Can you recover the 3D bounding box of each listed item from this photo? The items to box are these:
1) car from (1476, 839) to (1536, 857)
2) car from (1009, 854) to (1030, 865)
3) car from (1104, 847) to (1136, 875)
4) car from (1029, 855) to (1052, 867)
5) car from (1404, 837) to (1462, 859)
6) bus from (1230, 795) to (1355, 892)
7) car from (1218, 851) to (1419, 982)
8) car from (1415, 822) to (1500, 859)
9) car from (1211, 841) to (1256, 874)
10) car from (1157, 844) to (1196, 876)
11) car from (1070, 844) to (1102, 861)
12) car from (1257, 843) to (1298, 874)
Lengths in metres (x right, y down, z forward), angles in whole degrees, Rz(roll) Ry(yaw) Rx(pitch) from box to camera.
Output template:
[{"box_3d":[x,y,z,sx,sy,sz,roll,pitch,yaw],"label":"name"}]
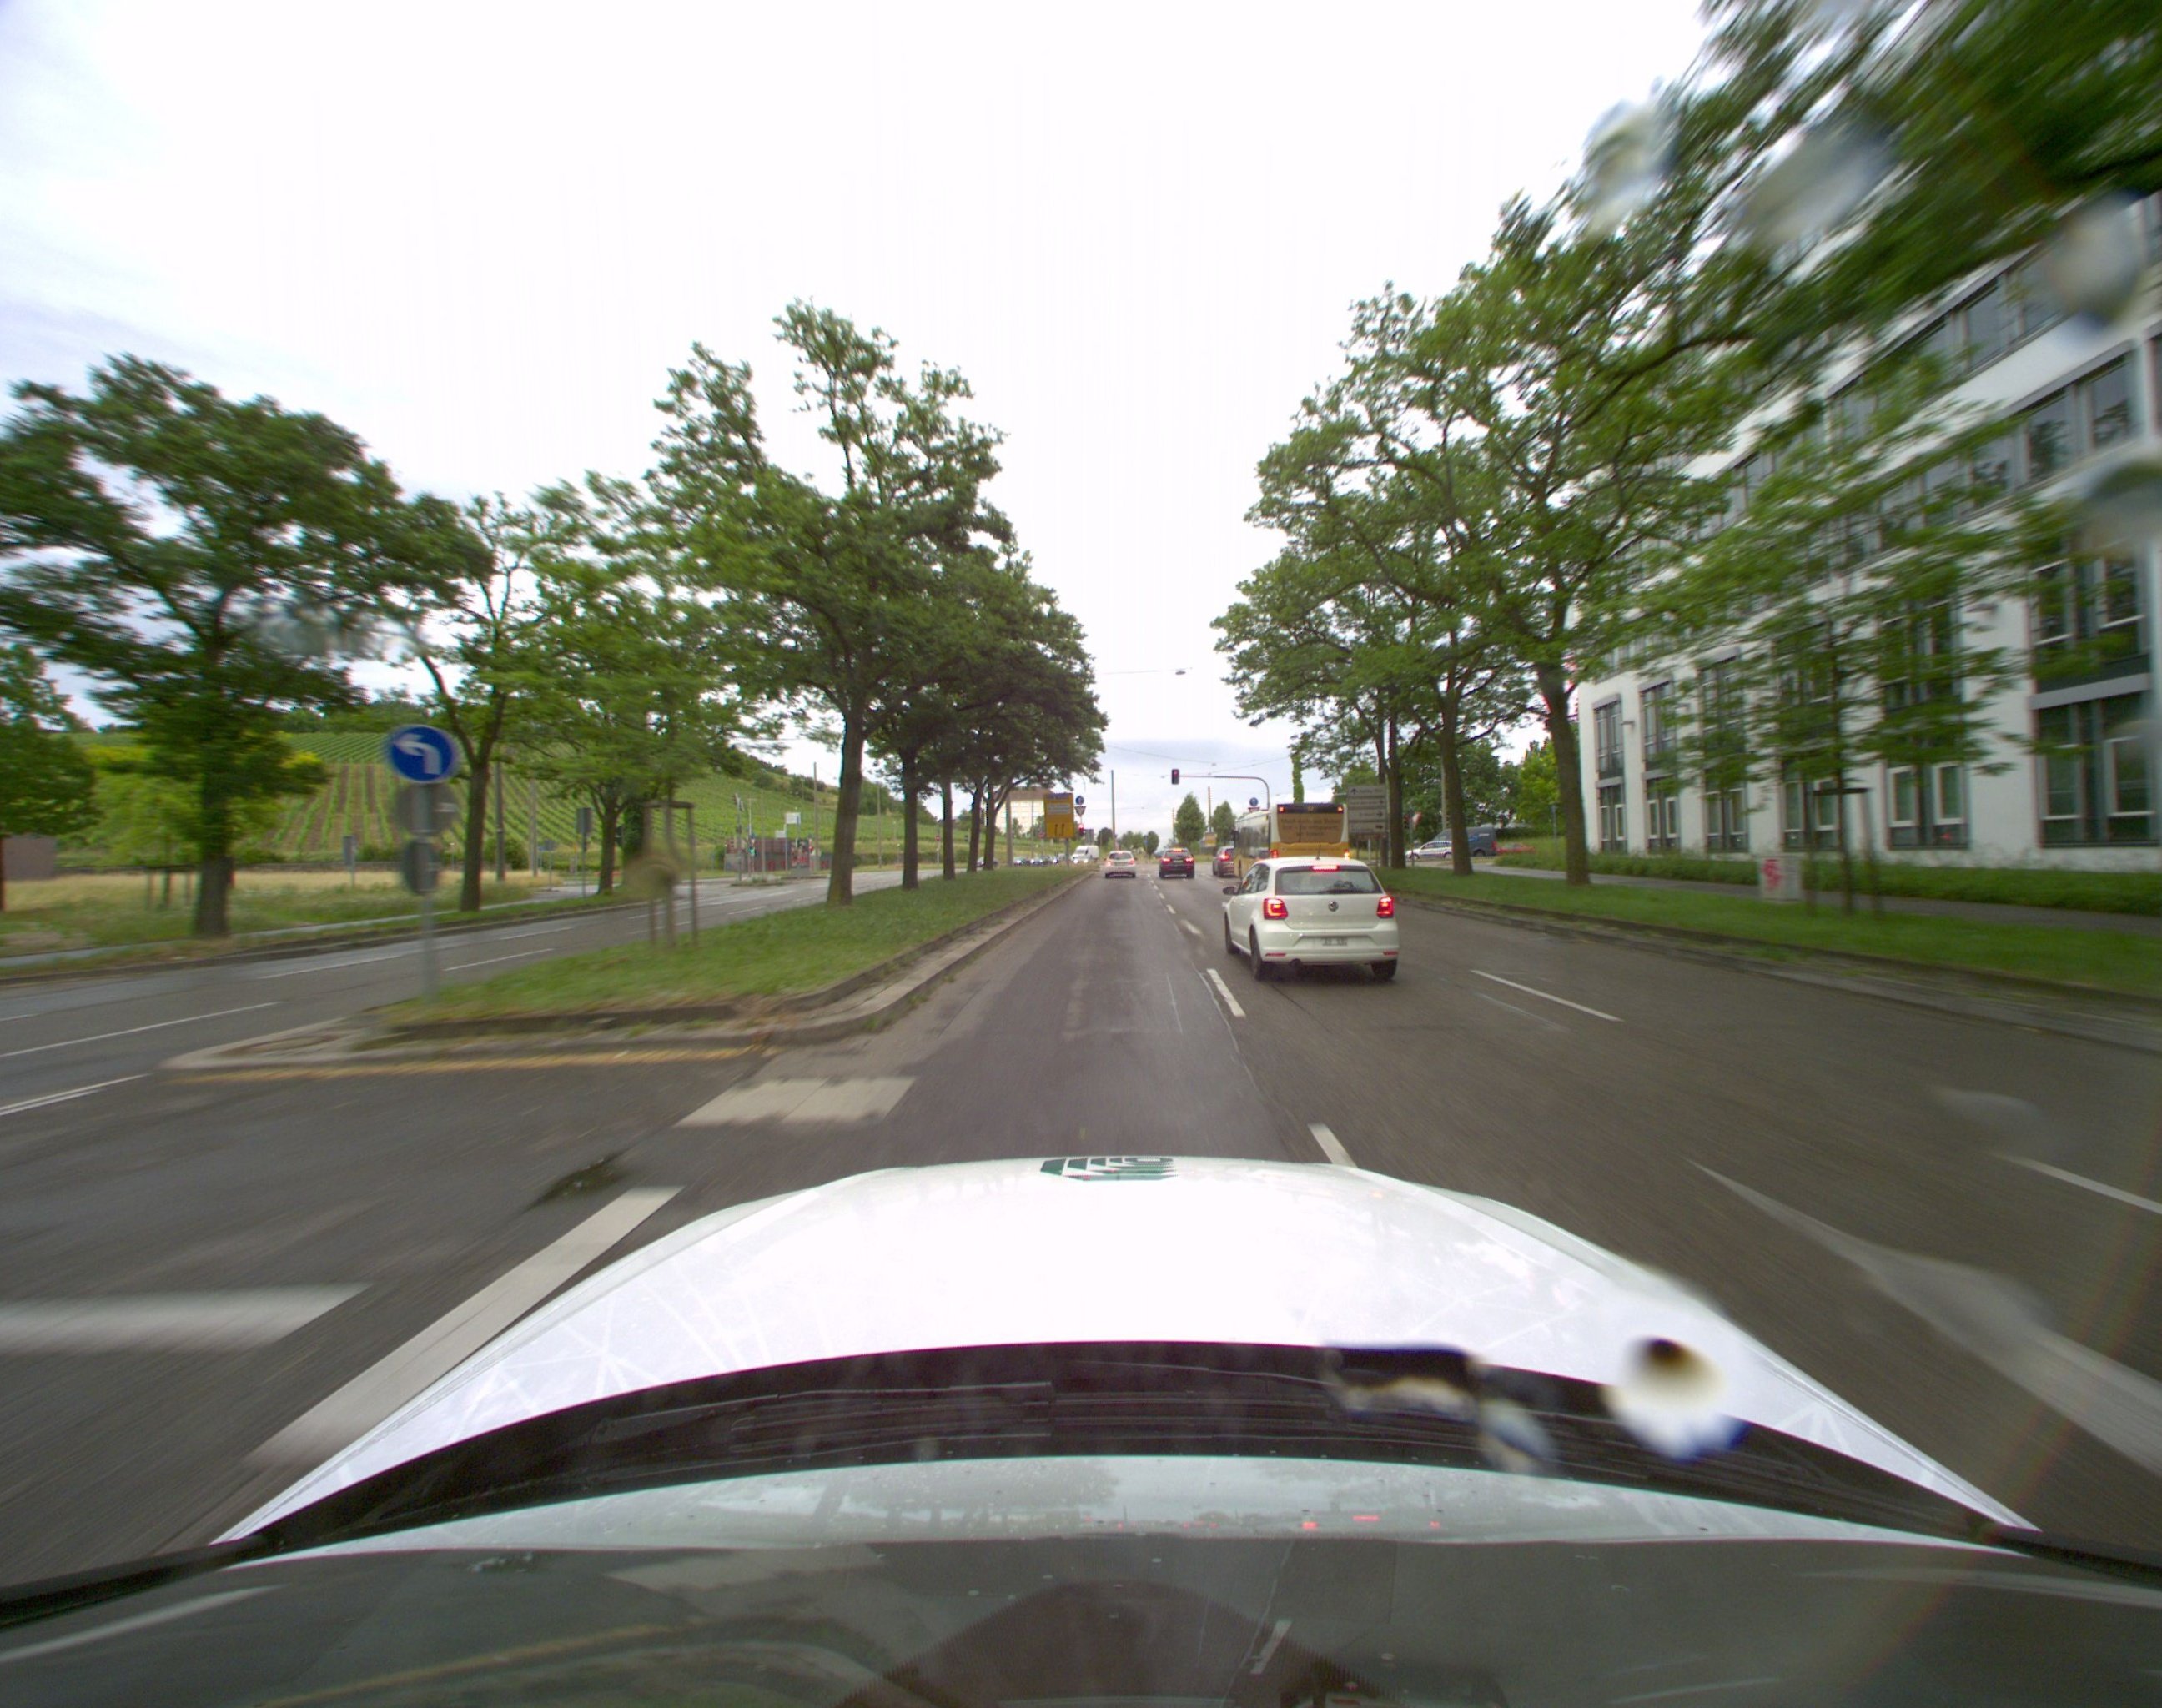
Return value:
[{"box_3d":[36.373,-0.496,69.705,4.480,1.470,2.176,0,0,29],"label":"car"},{"box_3d":[-7.710,0.743,102.623,1.775,1.395,3.892,0,-1,10],"label":"car"},{"box_3d":[2.253,0.385,45.942,1.710,1.489,4.004,-1,0,4],"label":"car"},{"box_3d":[-4.997,0.877,100.582,1.773,1.395,3.896,0,-1,14],"label":"car"},{"box_3d":[27.506,-0.469,63.634,4.011,1.569,1.882,-1,-2,27],"label":"car"},{"box_3d":[7.939,-0.426,32.434,2.714,3.151,12.161,0,1,4],"label":"bus"},{"box_3d":[2.936,0.693,10.900,1.734,1.432,3.814,0,0,2],"label":"car"},{"box_3d":[30.181,-1.011,65.301,5.952,2.741,2.094,-1,-2,30],"label":"car"},{"box_3d":[8.317,0.159,44.873,1.857,1.674,4.569,-1,1,3],"label":"car"},{"box_3d":[5.138,0.320,44.138,1.876,1.595,4.118,0,0,4],"label":"car"},{"box_3d":[0.797,-0.176,124.091,1.975,2.559,6.207,0,0,29],"label":"car"},{"box_3d":[10.538,0.263,43.486,1.851,1.498,4.169,2,0,16],"label":"car"}]
